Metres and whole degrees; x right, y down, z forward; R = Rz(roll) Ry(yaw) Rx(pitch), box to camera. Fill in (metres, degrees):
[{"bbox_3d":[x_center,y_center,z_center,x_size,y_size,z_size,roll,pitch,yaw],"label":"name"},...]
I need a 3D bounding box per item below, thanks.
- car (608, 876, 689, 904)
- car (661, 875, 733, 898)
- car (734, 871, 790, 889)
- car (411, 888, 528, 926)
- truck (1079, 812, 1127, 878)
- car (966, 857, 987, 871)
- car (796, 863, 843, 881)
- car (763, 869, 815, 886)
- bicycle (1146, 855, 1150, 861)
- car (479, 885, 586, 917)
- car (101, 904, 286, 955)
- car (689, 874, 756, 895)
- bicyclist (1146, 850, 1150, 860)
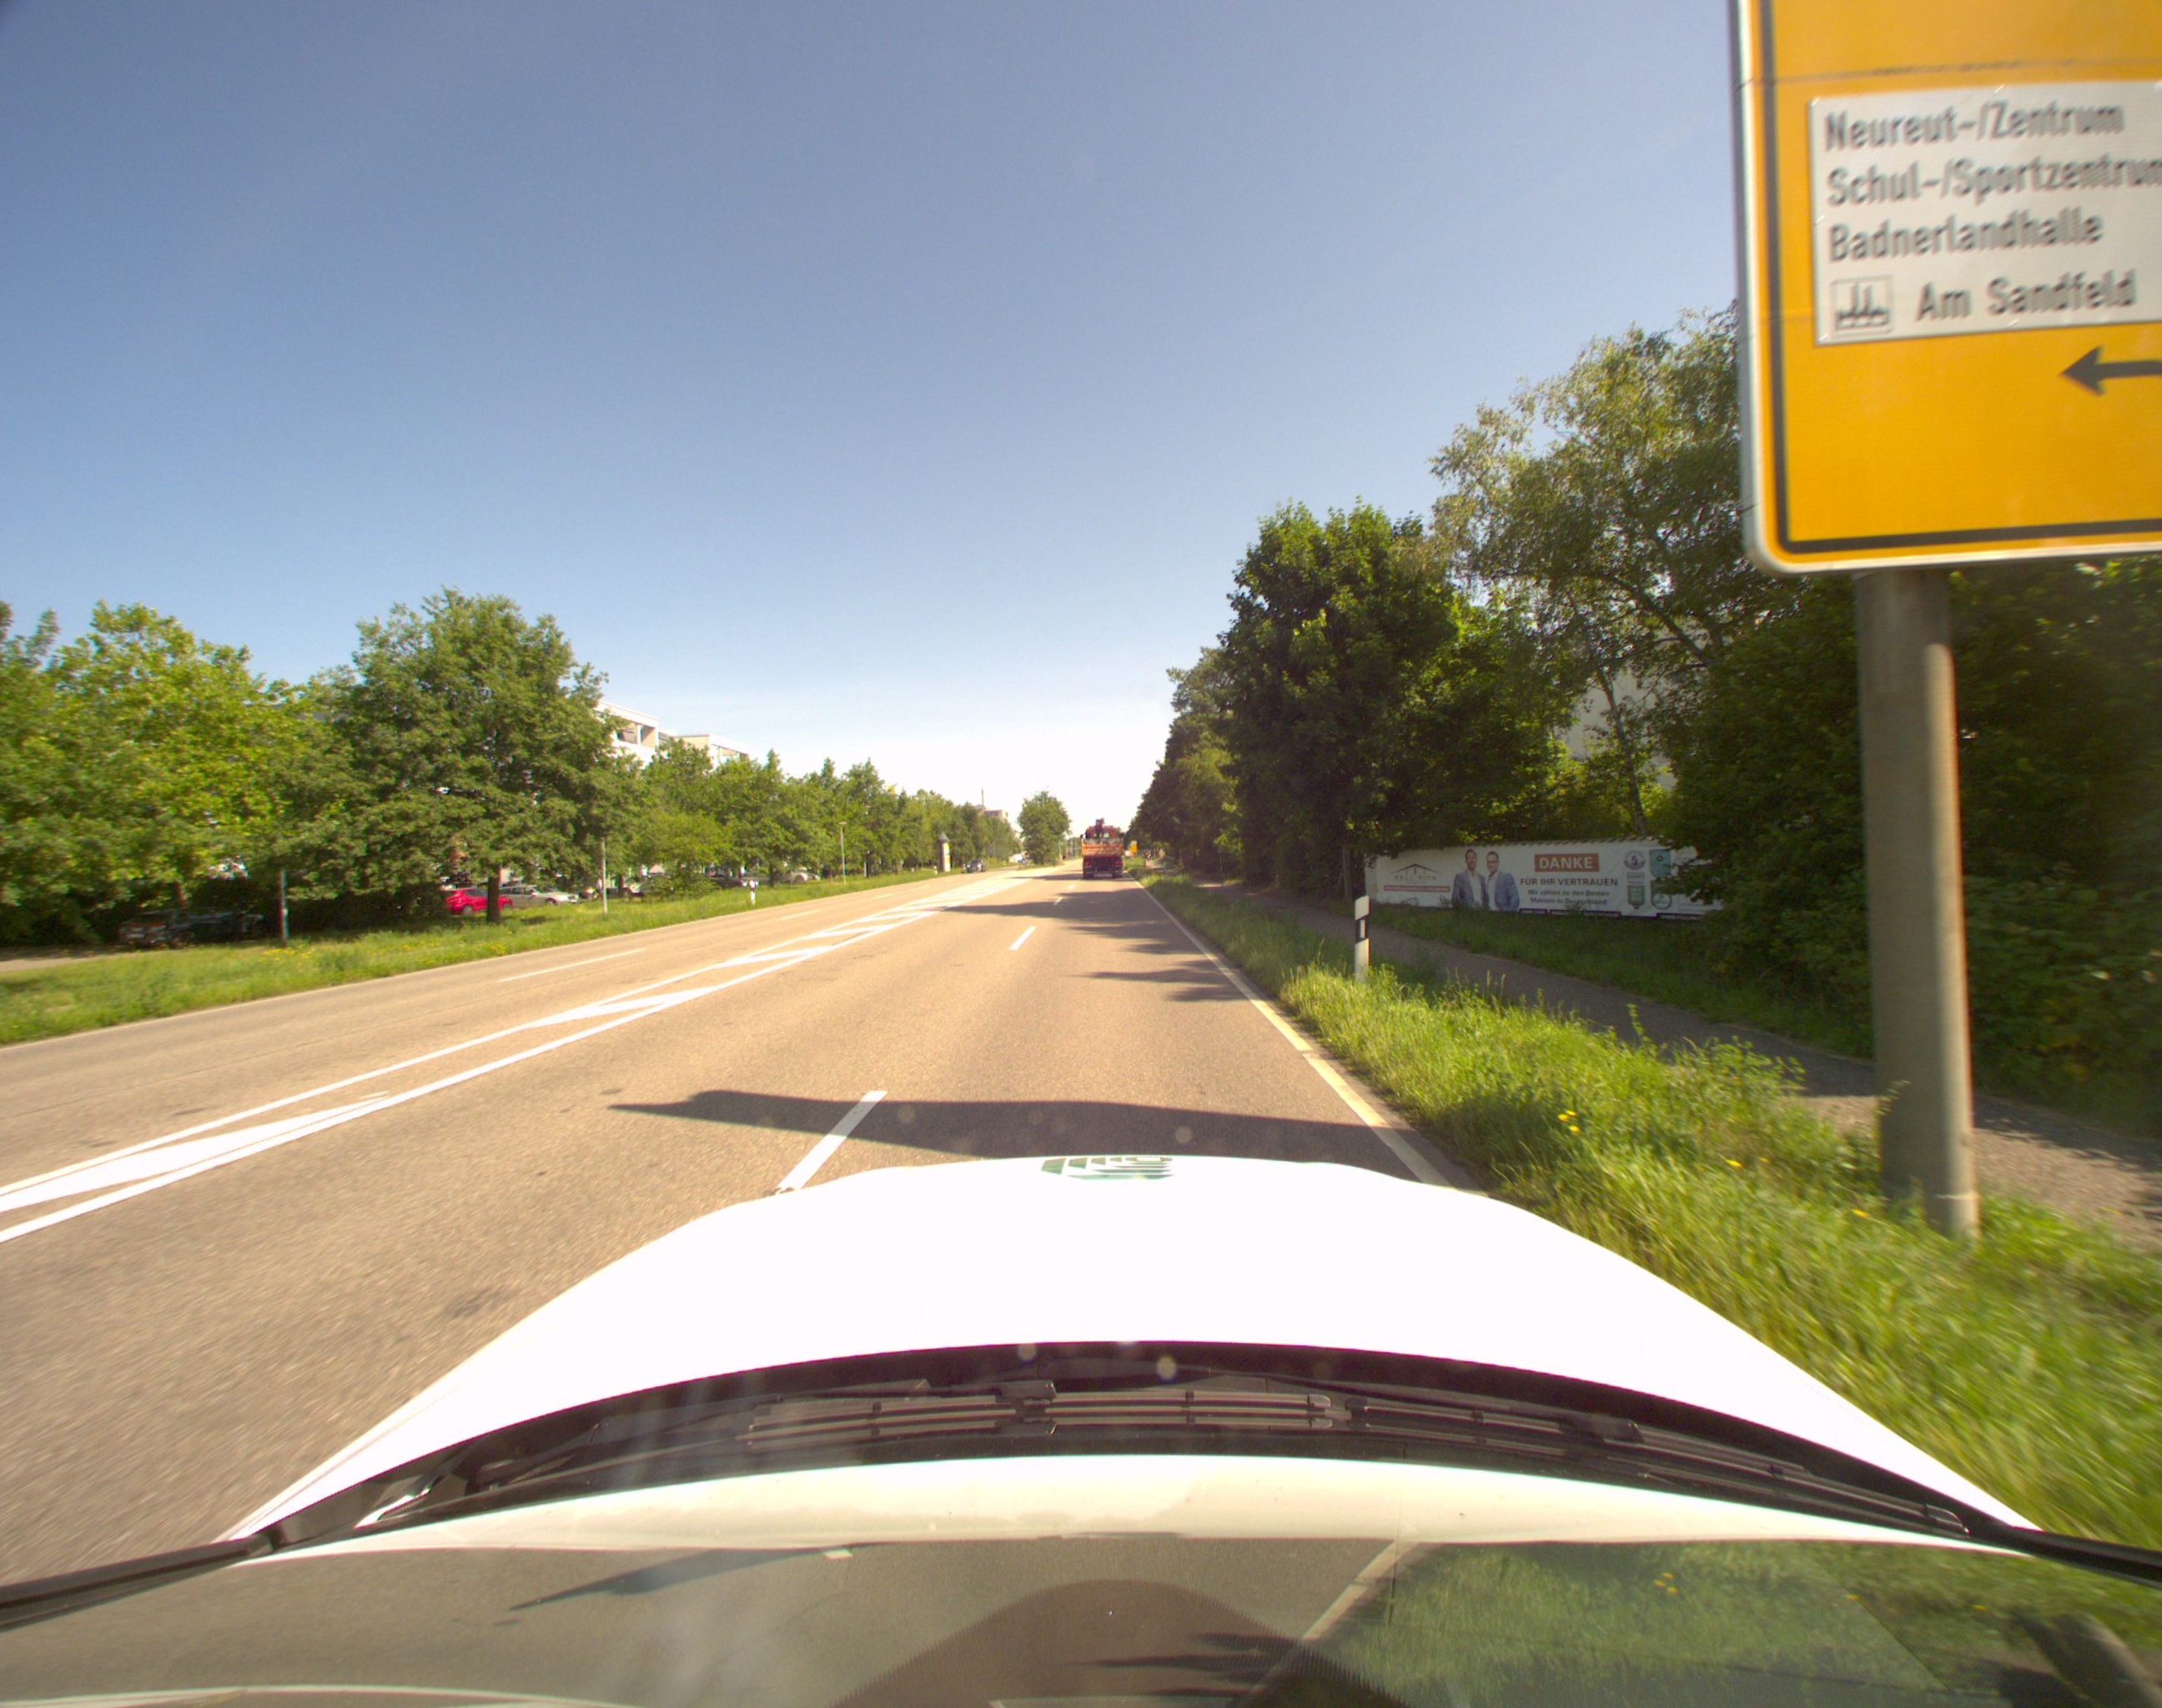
[{"bbox_3d":[-30.654,2.523,57.751,4.578,1.650,2.001,-3,0,1],"label":"car"},{"bbox_3d":[-30.142,2.543,64.027,4.578,1.437,2.001,-3,0,1],"label":"car"},{"bbox_3d":[-30.650,2.476,78.352,4.578,1.437,2.001,-3,0,1],"label":"car"},{"bbox_3d":[-29.798,2.544,39.925,1.985,1.437,4.615,-3,0,4],"label":"car"},{"bbox_3d":[1.321,-0.550,52.567,2.863,3.880,7.398,-1,0,0],"label":"truck"},{"bbox_3d":[-12.561,1.211,98.051,1.794,1.572,4.001,-4,0,1],"label":"car"},{"bbox_3d":[-29.330,2.024,91.437,4.513,1.757,2.002,-3,0,4],"label":"car"},{"bbox_3d":[-30.405,2.457,84.791,4.578,1.437,2.001,-3,0,1],"label":"car"},{"bbox_3d":[10.344,0.623,125.831,0.556,0.815,1.964,-3,0,1],"label":"bicycle"},{"bbox_3d":[-30.764,2.629,45.747,4.578,1.437,2.001,-3,0,1],"label":"car"},{"bbox_3d":[-34.251,2.875,31.665,1.986,1.437,4.612,-3,0,2],"label":"car"},{"bbox_3d":[-29.750,2.534,67.672,4.578,1.437,2.001,-3,0,1],"label":"car"},{"bbox_3d":[10.312,0.157,125.822,0.556,1.558,0.558,-3,0,1],"label":"bicyclist"}]
